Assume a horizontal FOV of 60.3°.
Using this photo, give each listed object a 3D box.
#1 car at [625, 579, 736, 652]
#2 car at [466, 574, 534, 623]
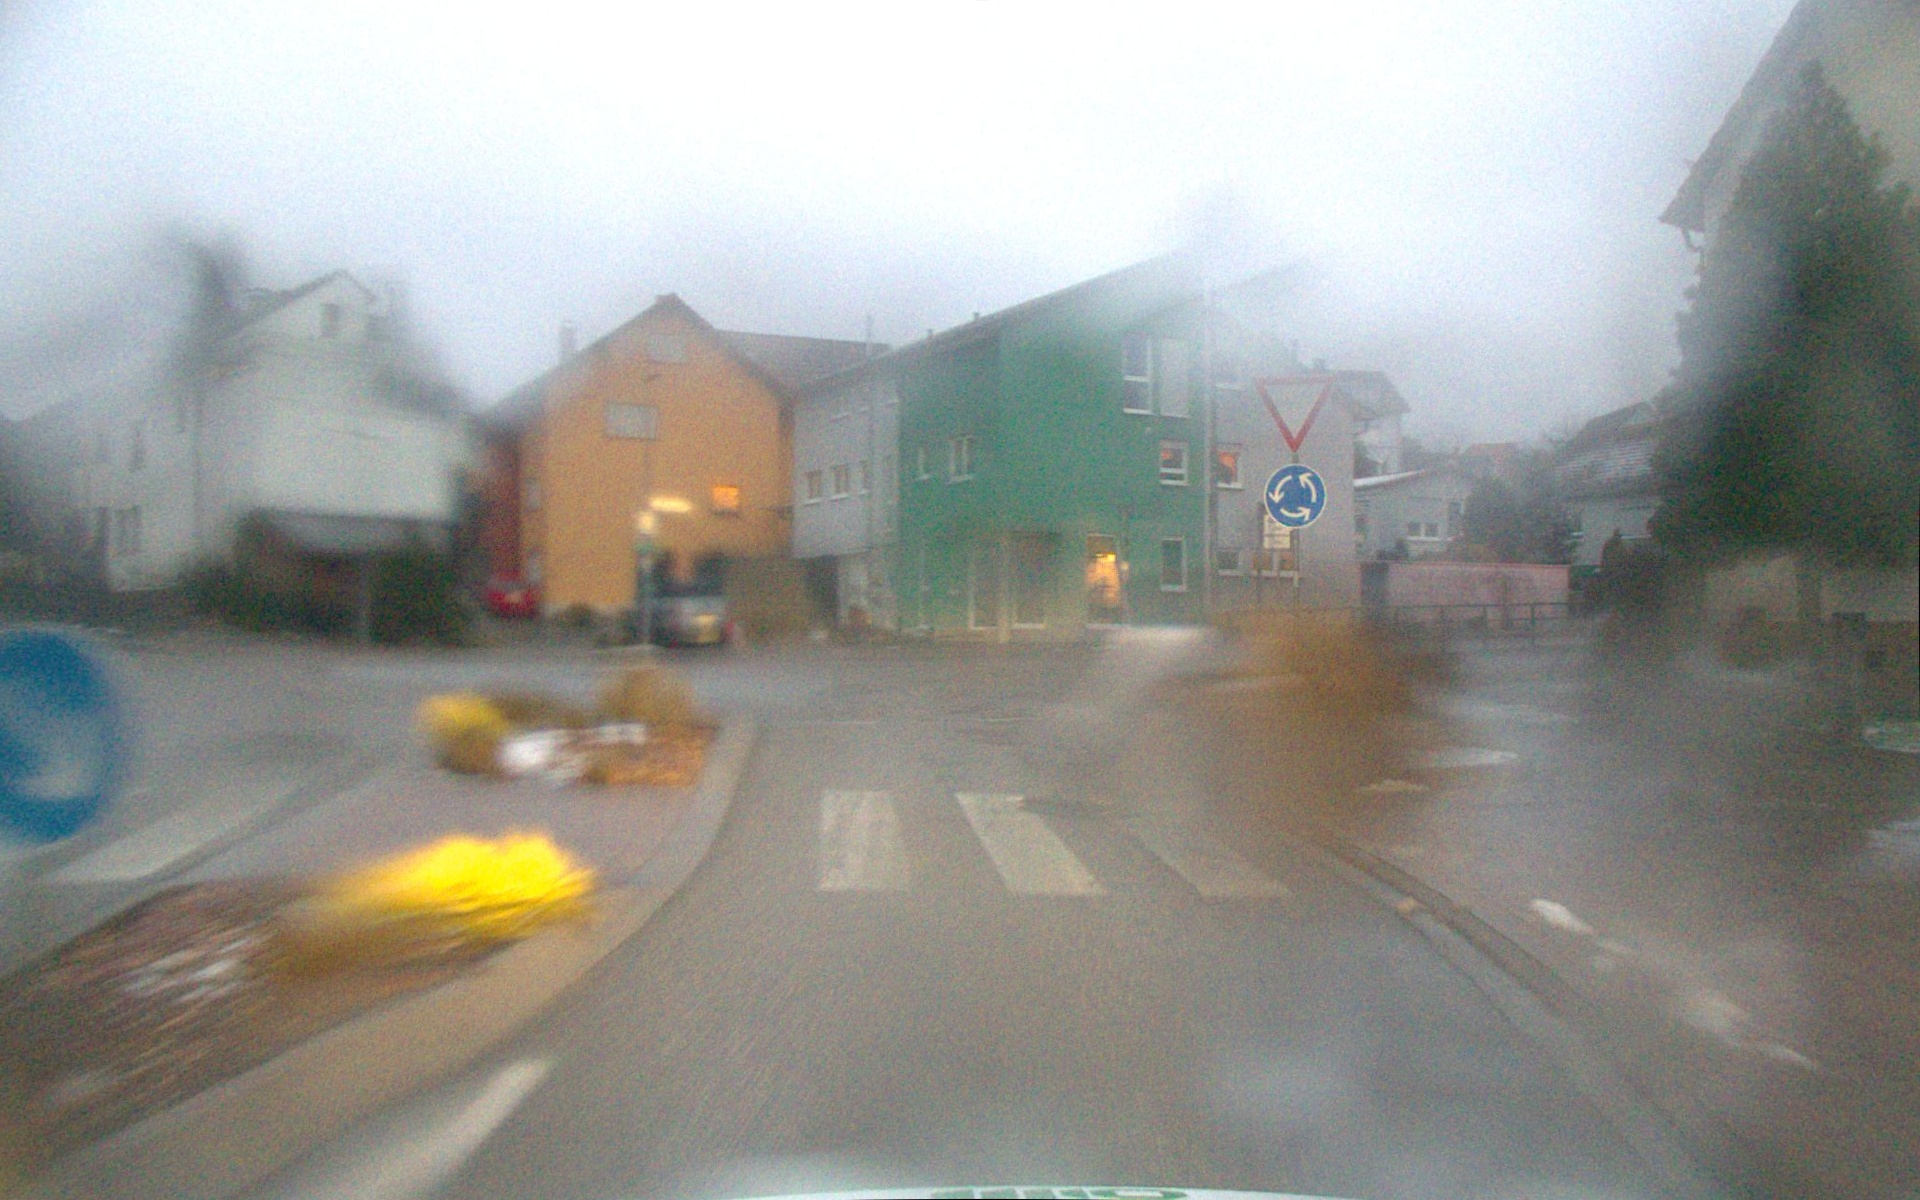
[{"bbox_3d":[-6.959,0.349,40.829,1.965,1.673,3.975,0,1,-21],"label":"car"},{"bbox_3d":[-16.303,-0.069,58.520,1.965,1.673,3.975,0,1,-21],"label":"car"}]
